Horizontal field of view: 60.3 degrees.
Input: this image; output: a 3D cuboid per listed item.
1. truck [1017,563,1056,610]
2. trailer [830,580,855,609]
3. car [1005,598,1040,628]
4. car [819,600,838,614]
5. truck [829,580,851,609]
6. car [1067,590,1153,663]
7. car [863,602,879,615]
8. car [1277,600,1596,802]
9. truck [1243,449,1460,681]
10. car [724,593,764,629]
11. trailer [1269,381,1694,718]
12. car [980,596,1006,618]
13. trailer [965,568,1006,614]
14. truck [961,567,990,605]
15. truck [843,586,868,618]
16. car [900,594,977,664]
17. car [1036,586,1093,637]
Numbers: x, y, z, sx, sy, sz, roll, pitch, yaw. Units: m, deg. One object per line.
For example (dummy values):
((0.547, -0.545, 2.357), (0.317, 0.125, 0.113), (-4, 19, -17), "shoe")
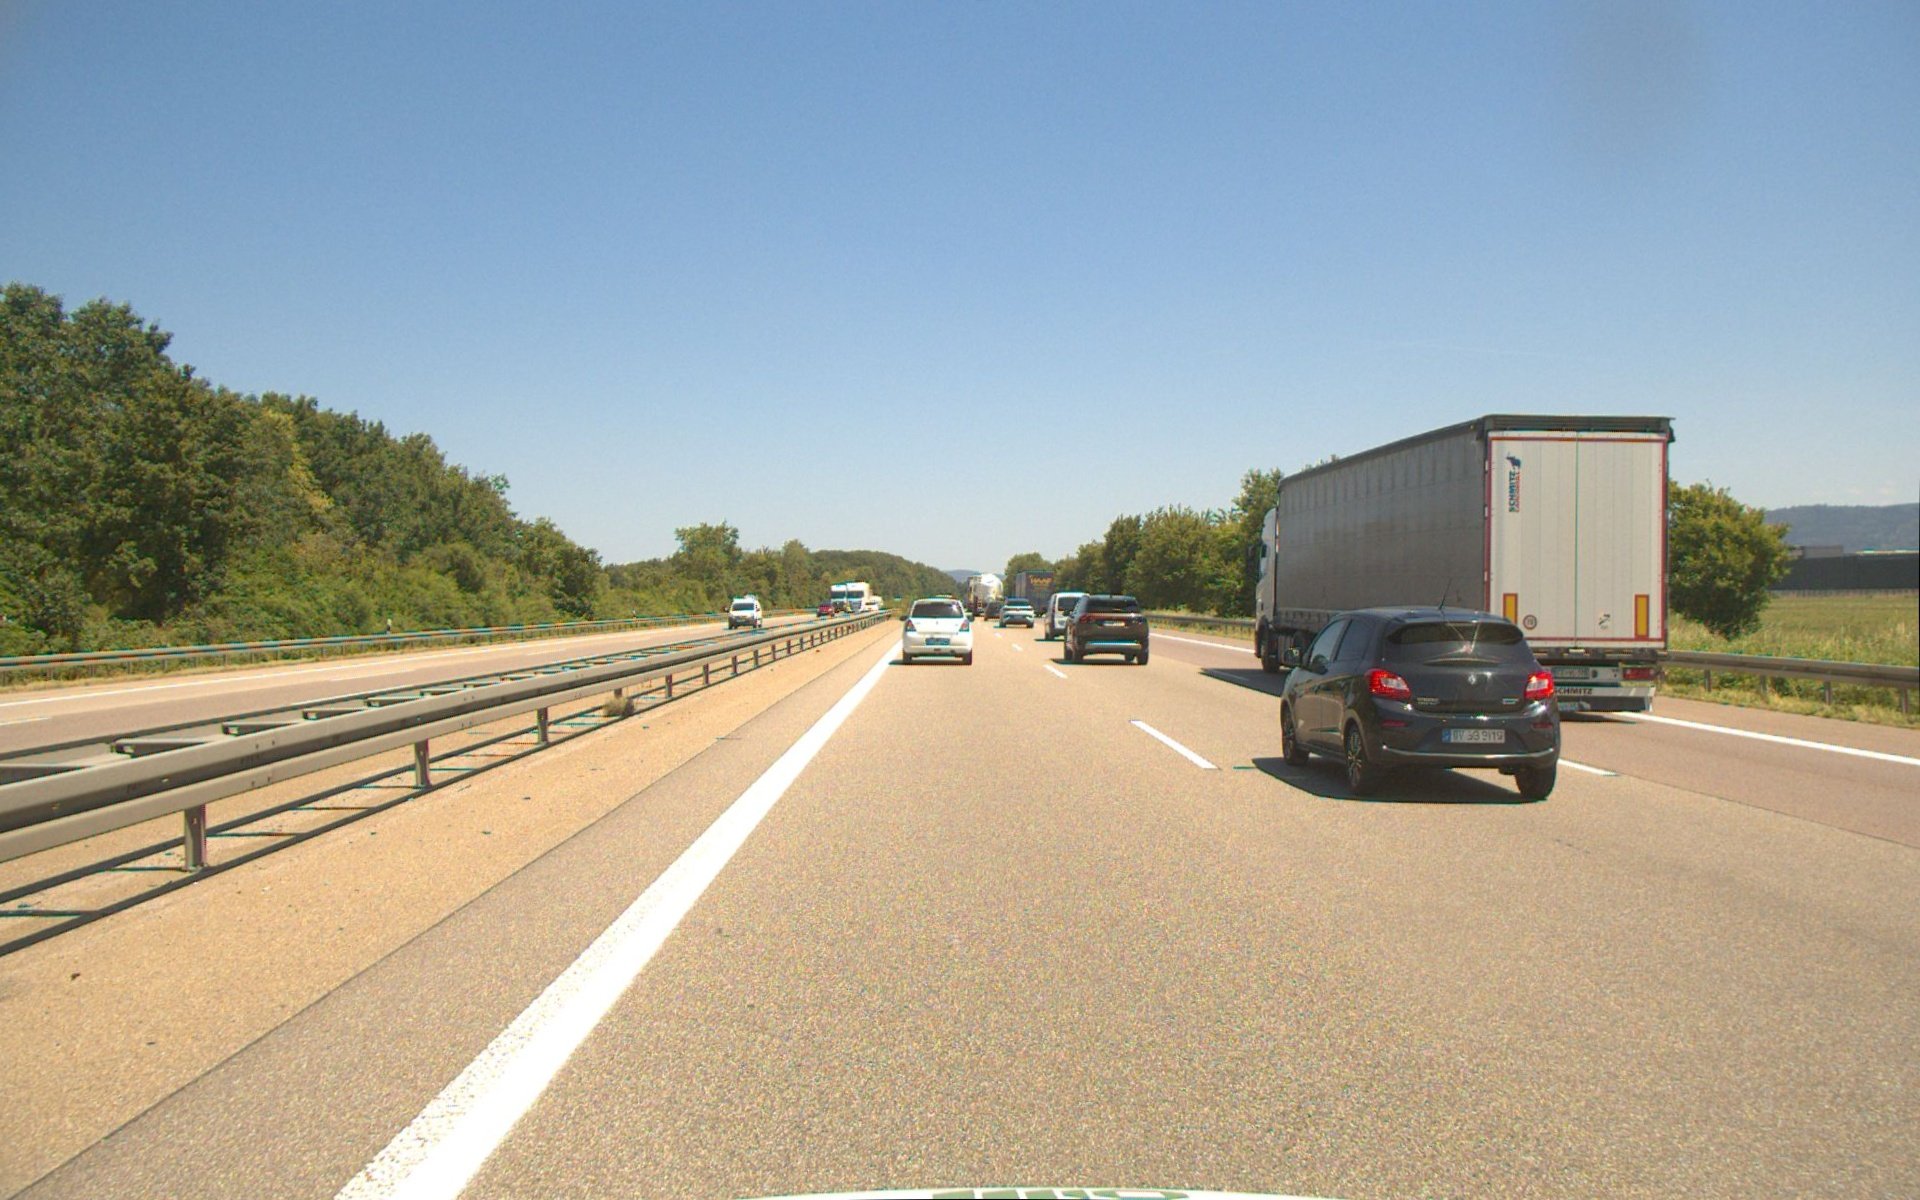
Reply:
((7.134, -1.195, 156.128), (3.045, 4.211, 15.511), (1, 0, 1), "truck")
((-17.960, -0.818, 253.246), (2.701, 4.174, 14.052), (-3, 0, 0), "trailer")
((3.521, 0.740, 93.262), (1.765, 1.631, 4.380), (1, 0, 0), "car")
((-13.827, 0.727, 173.968), (1.737, 1.442, 4.109), (-3, 0, -1), "car")
((-17.949, -0.829, 247.568), (2.701, 4.174, 6.151), (-3, 0, 0), "truck")
((3.725, 0.642, 41.730), (1.828, 1.704, 4.746), (1, 0, 1), "car")
((-10.265, 0.995, 190.518), (1.684, 1.447, 3.896), (-2, 0, -1), "car")
((3.926, 0.769, 14.196), (1.653, 1.499, 3.431), (1, 0, -2), "car")
((8.098, -0.654, 35.187), (2.753, 4.380, 7.191), (1, 0, -1), "truck")
((-13.408, 0.677, 102.801), (1.752, 2.049, 4.380), (-3, 0, 0), "car")
((8.178, -0.645, 28.830), (2.752, 4.380, 14.252), (1, 0, -1), "trailer")
((2.392, 0.488, 121.179), (1.812, 1.549, 3.956), (1, 0, 0), "car")
((2.340, -0.761, 156.467), (2.854, 4.140, 12.409), (1, 0, -4), "trailer")
((1.873, -1.621, 198.828), (3.325, 4.287, 12.083), (1, 0, 1), "truck")
((-14.188, 0.251, 225.022), (2.684, 4.156, 6.217), (-2, 0, 1), "truck")
((-0.522, 0.679, 39.956), (1.762, 1.579, 3.609), (1, 0, -1), "car")
((4.036, 0.455, 64.580), (1.815, 1.895, 4.700), (1, 0, -2), "car")
